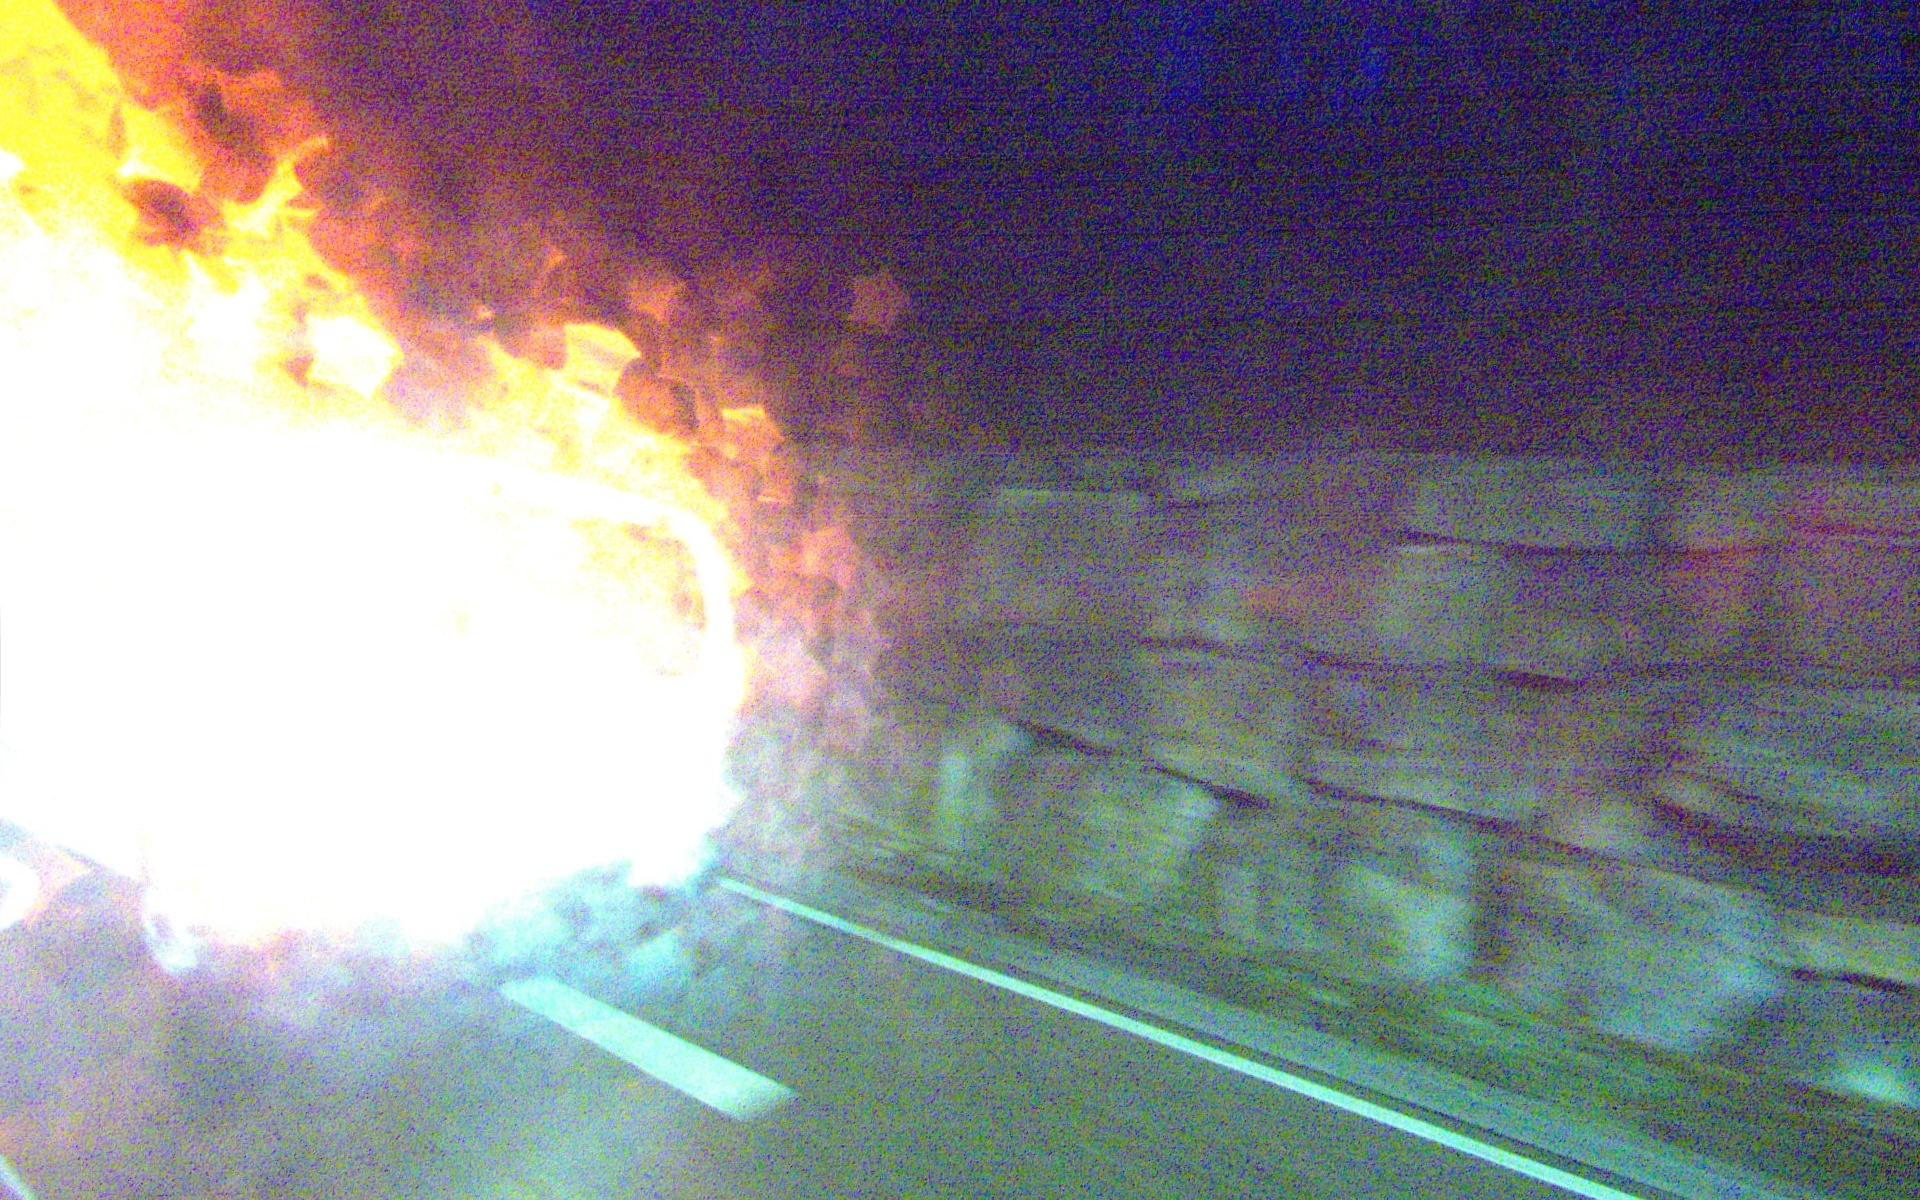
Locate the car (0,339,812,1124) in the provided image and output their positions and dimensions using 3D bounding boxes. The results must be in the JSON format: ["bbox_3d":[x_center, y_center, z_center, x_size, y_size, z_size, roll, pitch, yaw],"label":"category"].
[{"bbox_3d":[-3.105,0.192,4.523,4.502,2.045,1.795,7,-1,30],"label":"car"}]
